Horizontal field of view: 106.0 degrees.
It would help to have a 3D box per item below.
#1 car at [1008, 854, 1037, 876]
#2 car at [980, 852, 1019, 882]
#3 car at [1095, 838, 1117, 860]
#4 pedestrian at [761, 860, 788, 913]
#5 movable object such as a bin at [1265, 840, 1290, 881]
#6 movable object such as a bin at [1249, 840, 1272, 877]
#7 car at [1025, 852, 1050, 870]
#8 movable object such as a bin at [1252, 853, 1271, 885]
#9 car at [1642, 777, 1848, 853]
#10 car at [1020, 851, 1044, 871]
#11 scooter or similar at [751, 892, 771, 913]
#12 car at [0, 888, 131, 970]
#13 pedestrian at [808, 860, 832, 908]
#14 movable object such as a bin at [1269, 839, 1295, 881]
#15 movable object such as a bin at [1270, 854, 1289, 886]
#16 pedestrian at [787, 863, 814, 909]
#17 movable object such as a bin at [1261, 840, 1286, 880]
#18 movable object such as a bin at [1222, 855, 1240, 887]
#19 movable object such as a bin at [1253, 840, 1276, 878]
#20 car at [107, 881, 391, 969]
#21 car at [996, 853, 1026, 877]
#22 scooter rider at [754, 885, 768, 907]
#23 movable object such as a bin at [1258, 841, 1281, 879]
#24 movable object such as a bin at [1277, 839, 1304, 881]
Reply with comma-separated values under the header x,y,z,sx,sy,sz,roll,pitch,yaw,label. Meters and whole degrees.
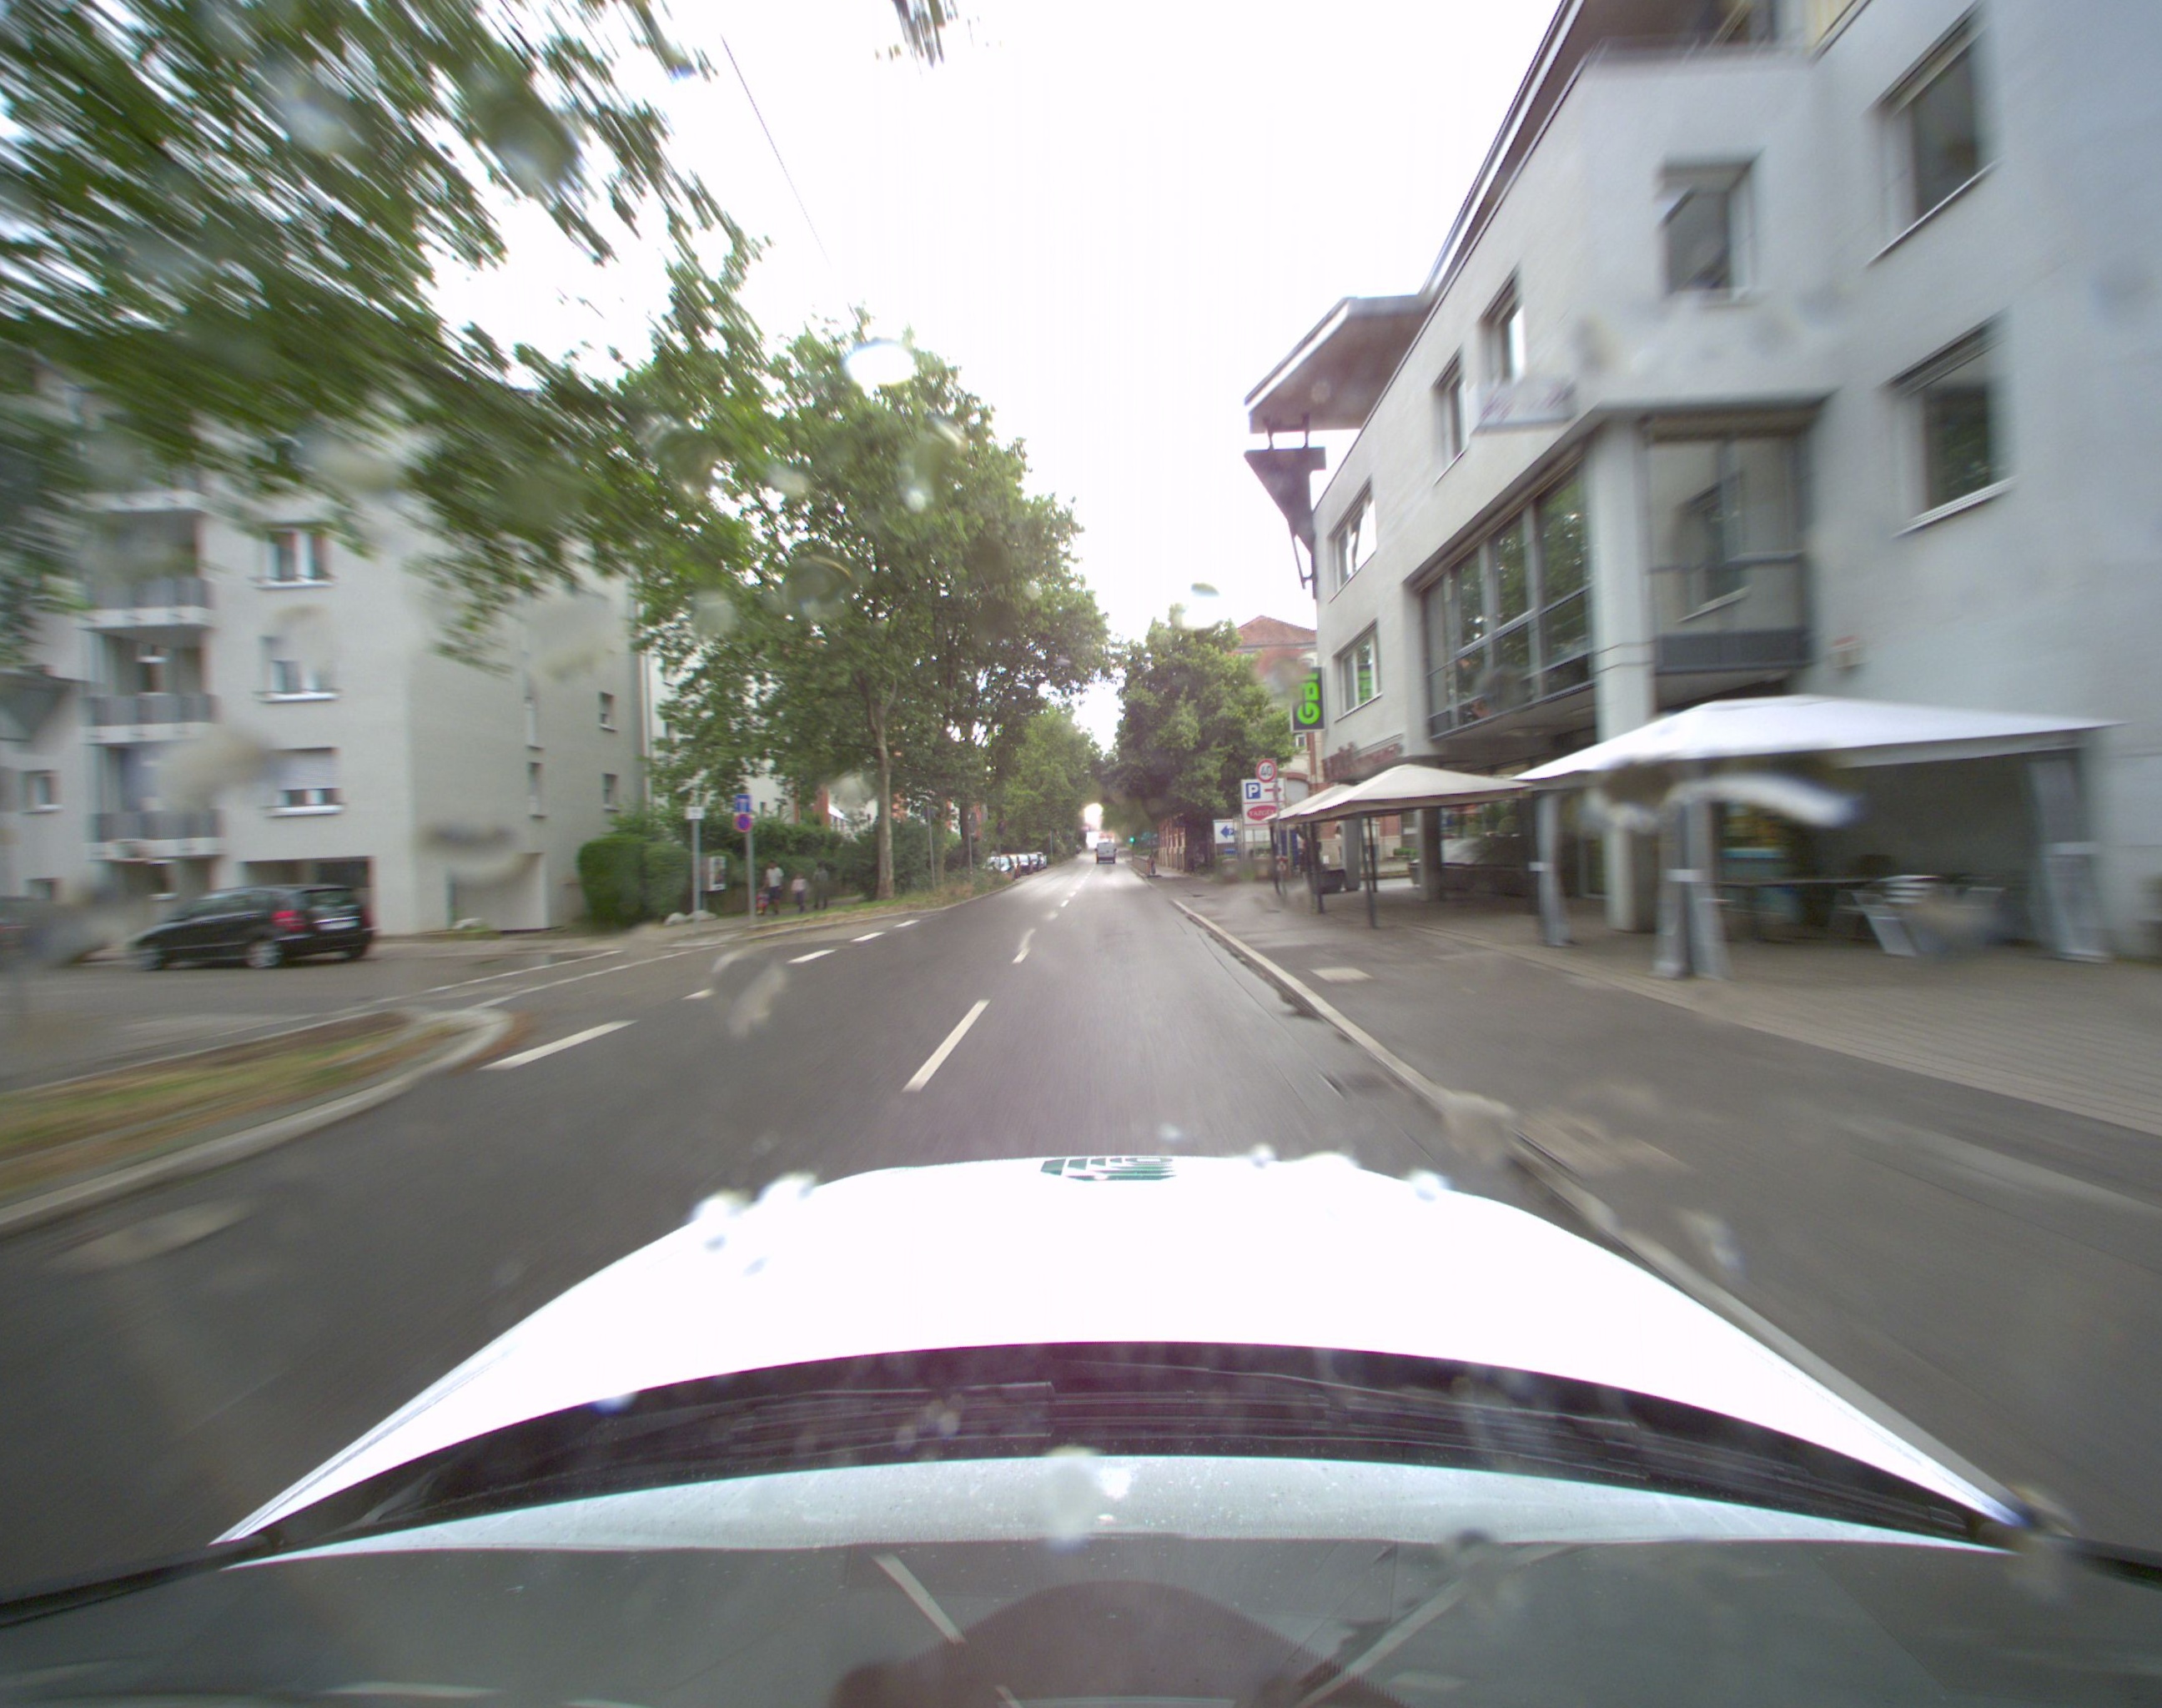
x,y,z,sx,sy,sz,roll,pitch,yaw,label
-4.162,0.745,58.266,1.711,1.467,3.756,-1,0,0,car
-4.625,0.701,46.582,1.711,1.509,4.804,-1,0,0,car
2.720,-0.491,87.030,2.327,2.231,4.002,0,-1,2,car
-9.709,1.016,25.812,0.538,1.630,0.591,-3,0,-1,pedestrian
7.548,0.240,31.318,0.735,1.508,0.625,-3,0,-2,movable object such as a bin
7.479,0.175,33.903,0.735,1.501,0.625,-3,0,-2,movable object such as a bin
-3.806,0.619,71.242,1.710,1.467,4.312,-1,0,3,car
6.455,0.544,29.136,0.528,1.115,0.561,-3,0,4,movable object such as a bin
26.752,-1.448,33.153,2.145,2.700,6.139,0,-1,-29,car
-3.846,0.522,64.379,1.712,1.467,4.232,-1,0,-1,car
-10.232,1.545,26.054,0.371,0.595,1.053,-3,0,-10,scooter or similar
-22.505,1.541,16.769,3.965,1.477,1.911,-2,0,7,car
-9.167,1.038,28.624,0.594,1.630,0.591,-3,0,-1,pedestrian
7.581,0.229,30.679,0.735,1.508,0.625,-3,0,-2,movable object such as a bin
7.124,0.556,29.281,0.502,1.115,0.618,-3,0,2,movable object such as a bin
-8.864,1.008,25.738,0.594,1.397,0.591,-3,0,-1,pedestrian
7.553,0.238,31.974,0.735,1.508,0.625,-3,0,-2,movable object such as a bin
5.385,0.607,29.295,0.502,1.115,0.618,-3,0,2,movable object such as a bin
7.502,0.200,33.275,0.735,1.508,0.625,-3,0,-2,movable object such as a bin
-16.442,1.384,16.213,3.965,1.477,1.911,-2,0,7,car
-4.531,0.711,52.971,1.550,1.467,3.397,-1,0,0,car
-10.228,1.338,26.010,0.328,0.684,0.392,-3,0,-11,scooter rider
7.552,0.237,32.626,0.735,1.508,0.625,-3,0,-2,movable object such as a bin
7.717,0.215,30.055,0.735,1.508,0.625,-3,0,-2,movable object such as a bin
